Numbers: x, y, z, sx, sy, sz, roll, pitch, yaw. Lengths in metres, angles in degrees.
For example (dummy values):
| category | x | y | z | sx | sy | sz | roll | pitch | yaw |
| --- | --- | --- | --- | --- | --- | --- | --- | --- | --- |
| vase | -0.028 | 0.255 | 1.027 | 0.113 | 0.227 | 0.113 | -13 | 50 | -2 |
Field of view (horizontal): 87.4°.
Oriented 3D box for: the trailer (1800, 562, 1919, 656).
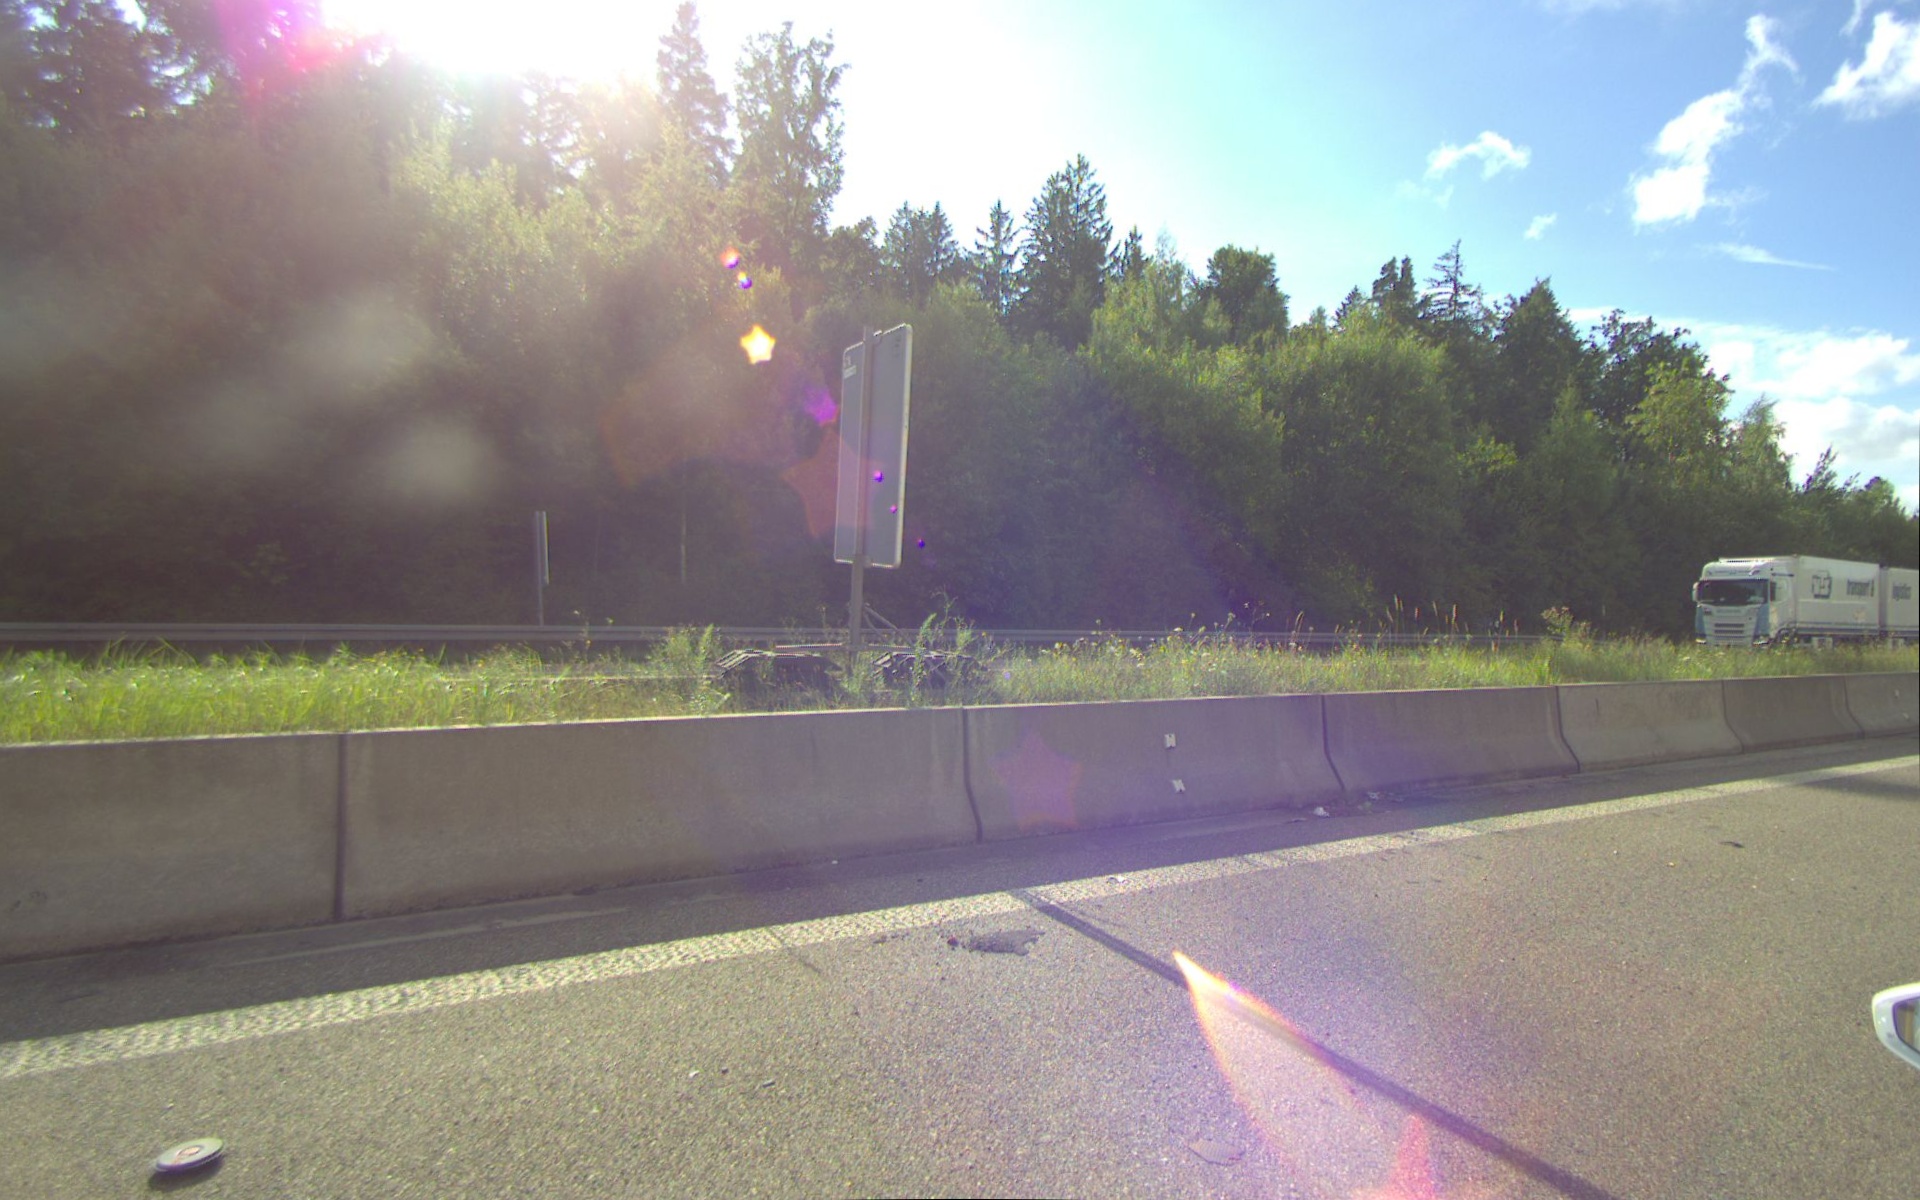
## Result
| category | x | y | z | sx | sy | sz | roll | pitch | yaw |
| --- | --- | --- | --- | --- | --- | --- | --- | --- | --- |
| trailer | 42.048 | 0.479 | 46.035 | 8.391 | 3.975 | 2.777 | 2 | 0 | -31 |

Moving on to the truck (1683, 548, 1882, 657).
| category | x | y | z | sx | sy | sz | roll | pitch | yaw |
| --- | --- | --- | --- | --- | --- | --- | --- | --- | --- |
| truck | 33.807 | 0.227 | 41.114 | 10.737 | 4.038 | 2.768 | 2 | 0 | -31 |
